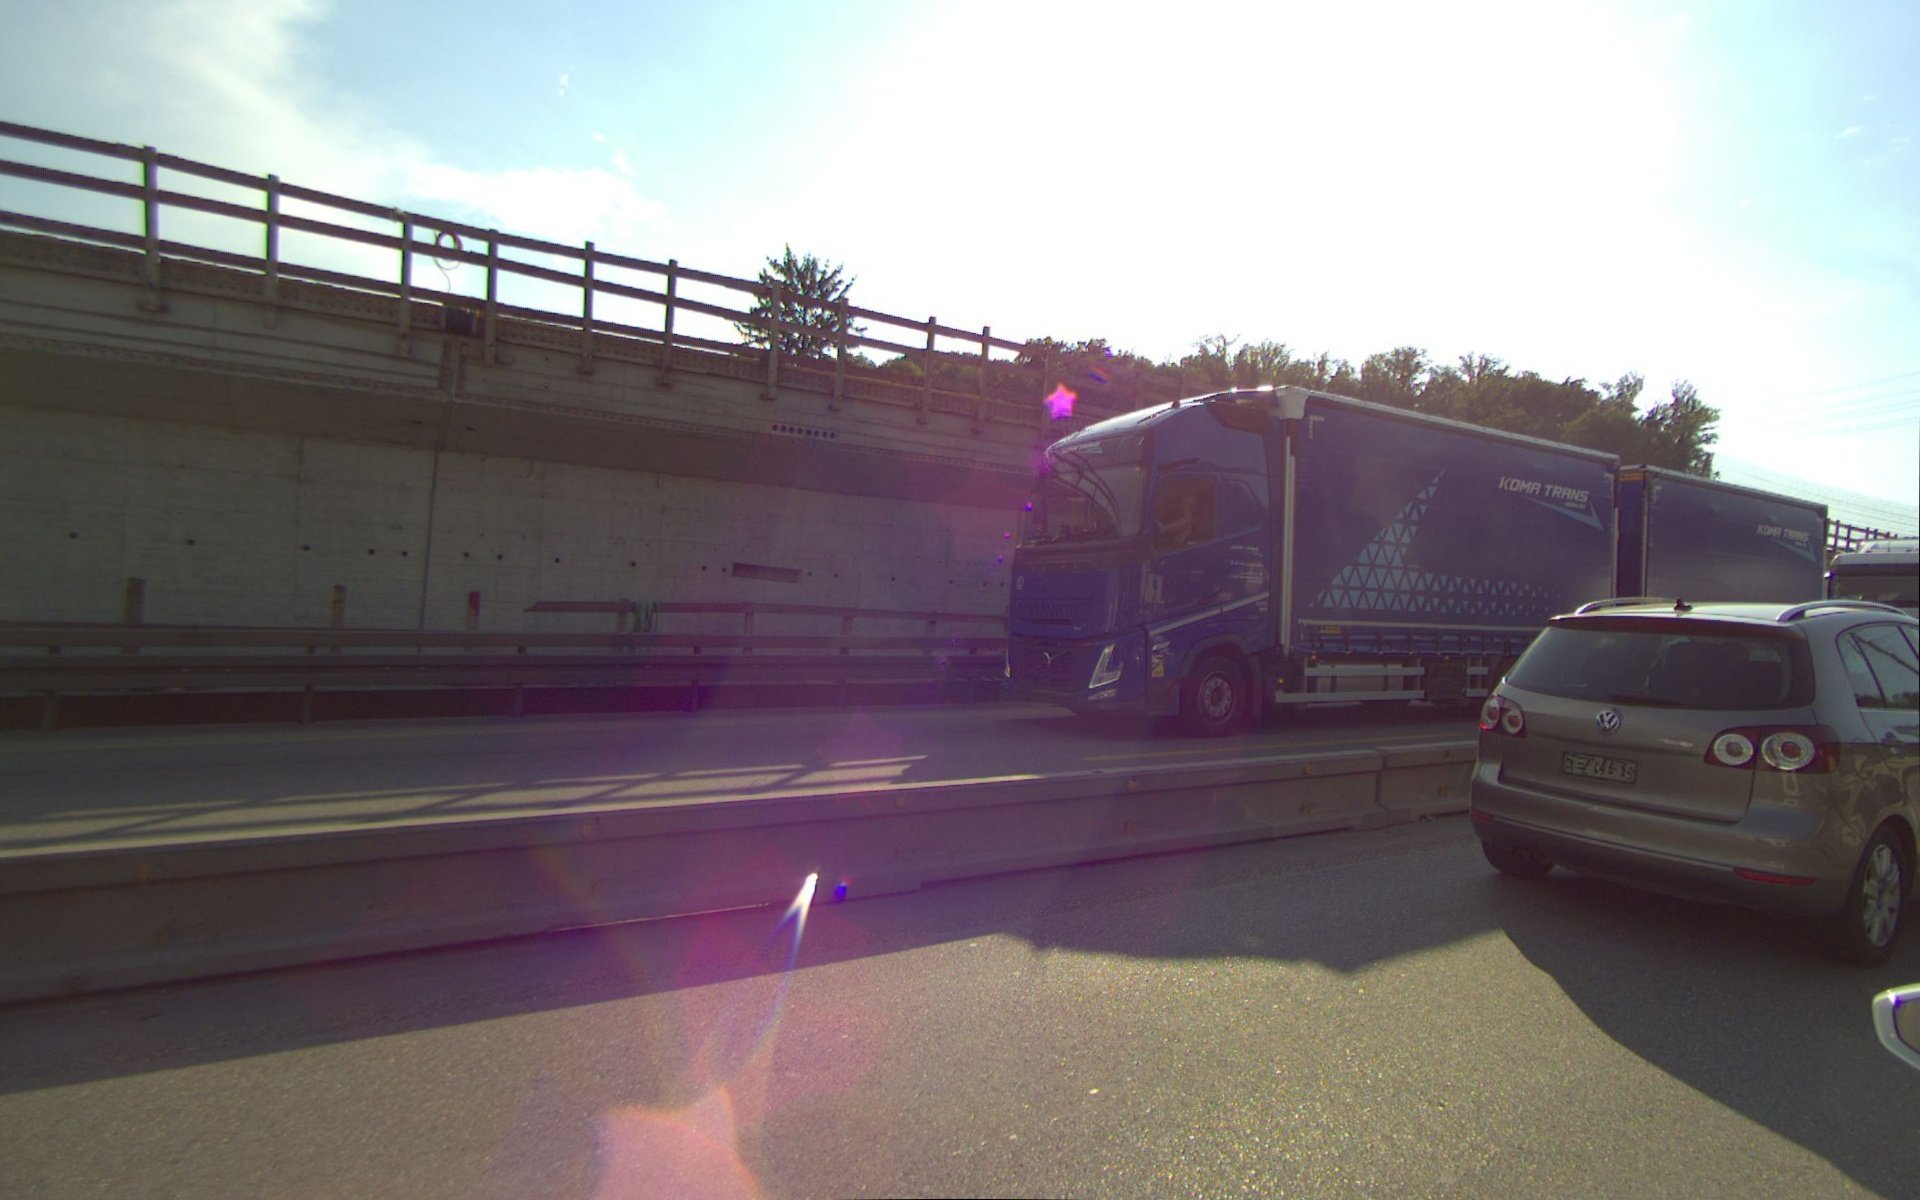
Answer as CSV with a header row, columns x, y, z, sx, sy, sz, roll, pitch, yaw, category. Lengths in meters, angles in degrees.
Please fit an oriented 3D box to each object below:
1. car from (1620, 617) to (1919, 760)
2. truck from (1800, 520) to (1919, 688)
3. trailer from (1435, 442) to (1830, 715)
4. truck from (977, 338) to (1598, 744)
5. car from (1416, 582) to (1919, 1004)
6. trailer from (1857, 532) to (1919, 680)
x,y,z,sx,sy,sz,roll,pitch,yaw,category
11.067,1.151,13.551,4.350,1.557,1.764,3,1,-30,car
26.029,0.162,27.431,6.136,4.147,2.694,3,3,-32,truck
13.025,-0.227,19.027,9.522,4.167,2.591,1,0,-33,trailer
4.972,-0.481,13.948,9.520,4.167,2.610,2,0,-32,truck
4.678,0.775,5.666,4.221,1.610,1.672,1,1,-30,car
32.315,0.465,31.471,12.432,4.147,2.694,3,3,-32,trailer
